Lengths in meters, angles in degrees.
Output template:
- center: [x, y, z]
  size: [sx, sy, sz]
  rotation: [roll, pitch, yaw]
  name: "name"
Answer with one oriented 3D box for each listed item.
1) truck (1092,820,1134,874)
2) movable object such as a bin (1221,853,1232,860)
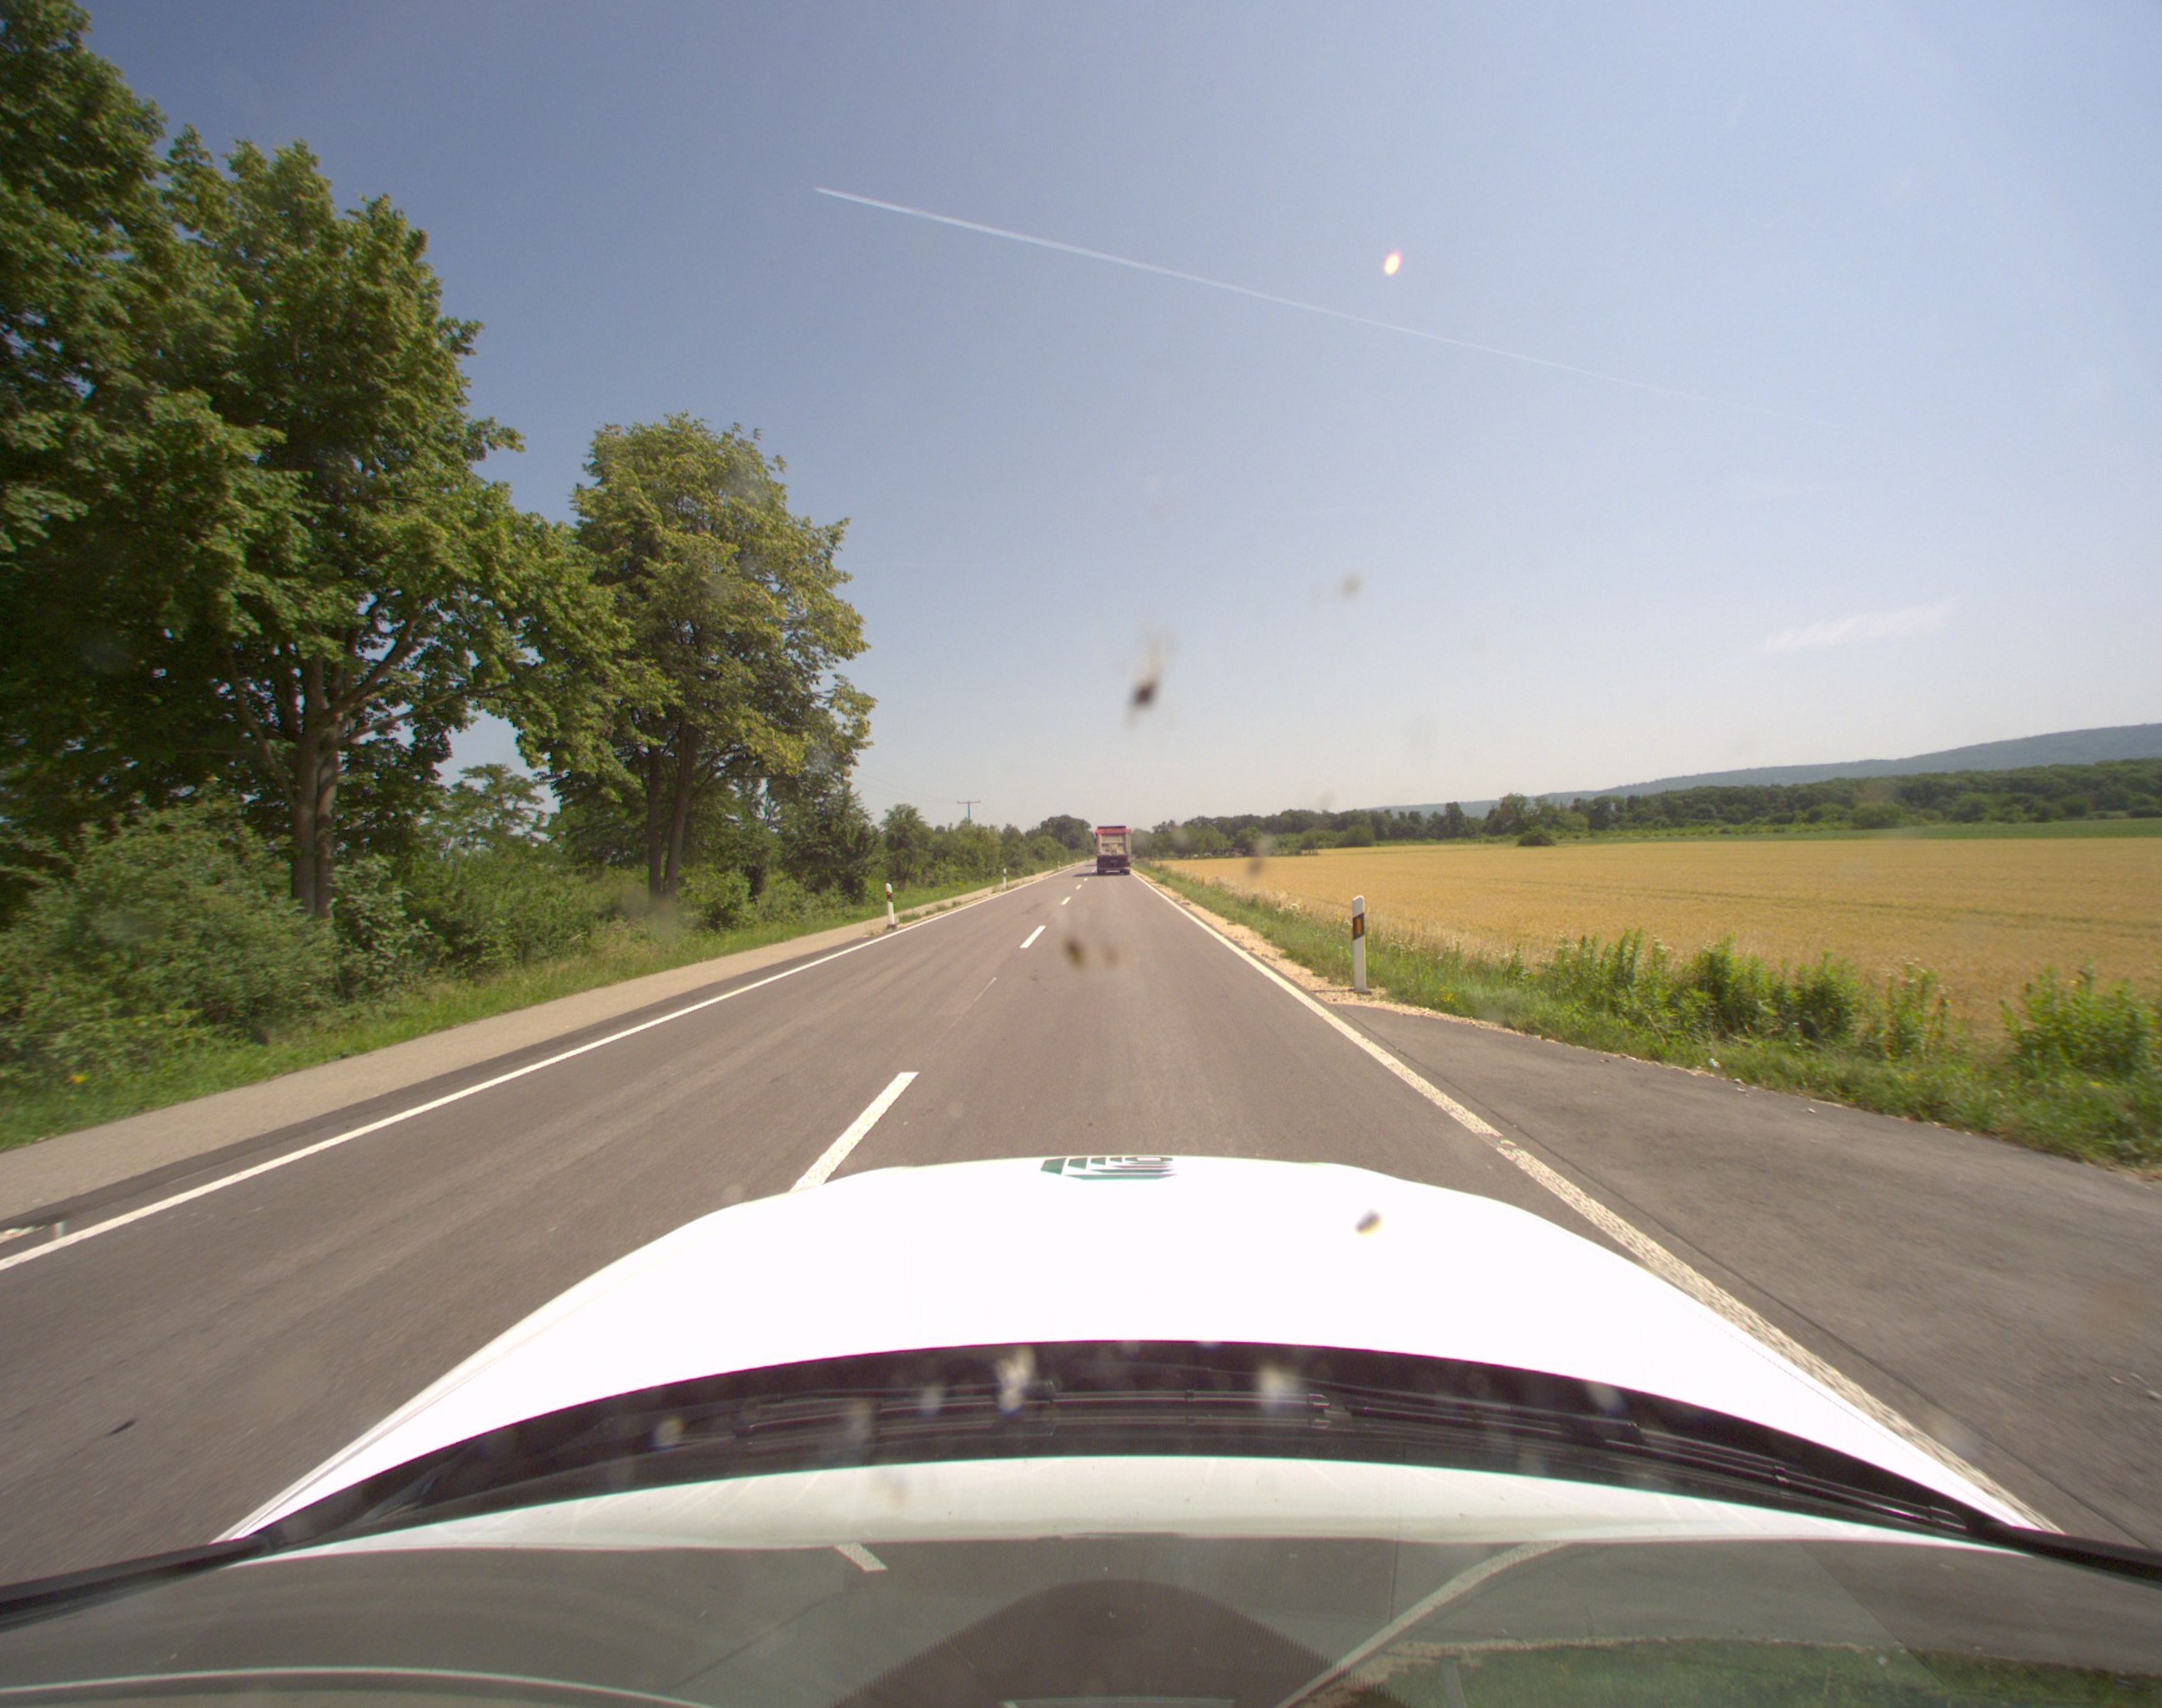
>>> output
- center: [2.507, -0.437, 64.874]
  size: [2.998, 3.874, 12.213]
  rotation: [0, 0, 2]
  name: "truck"
- center: [33.149, 0.504, 185.796]
  size: [1.567, 1.496, 3.655]
  rotation: [-2, 0, -3]
  name: "movable object such as a bin"
